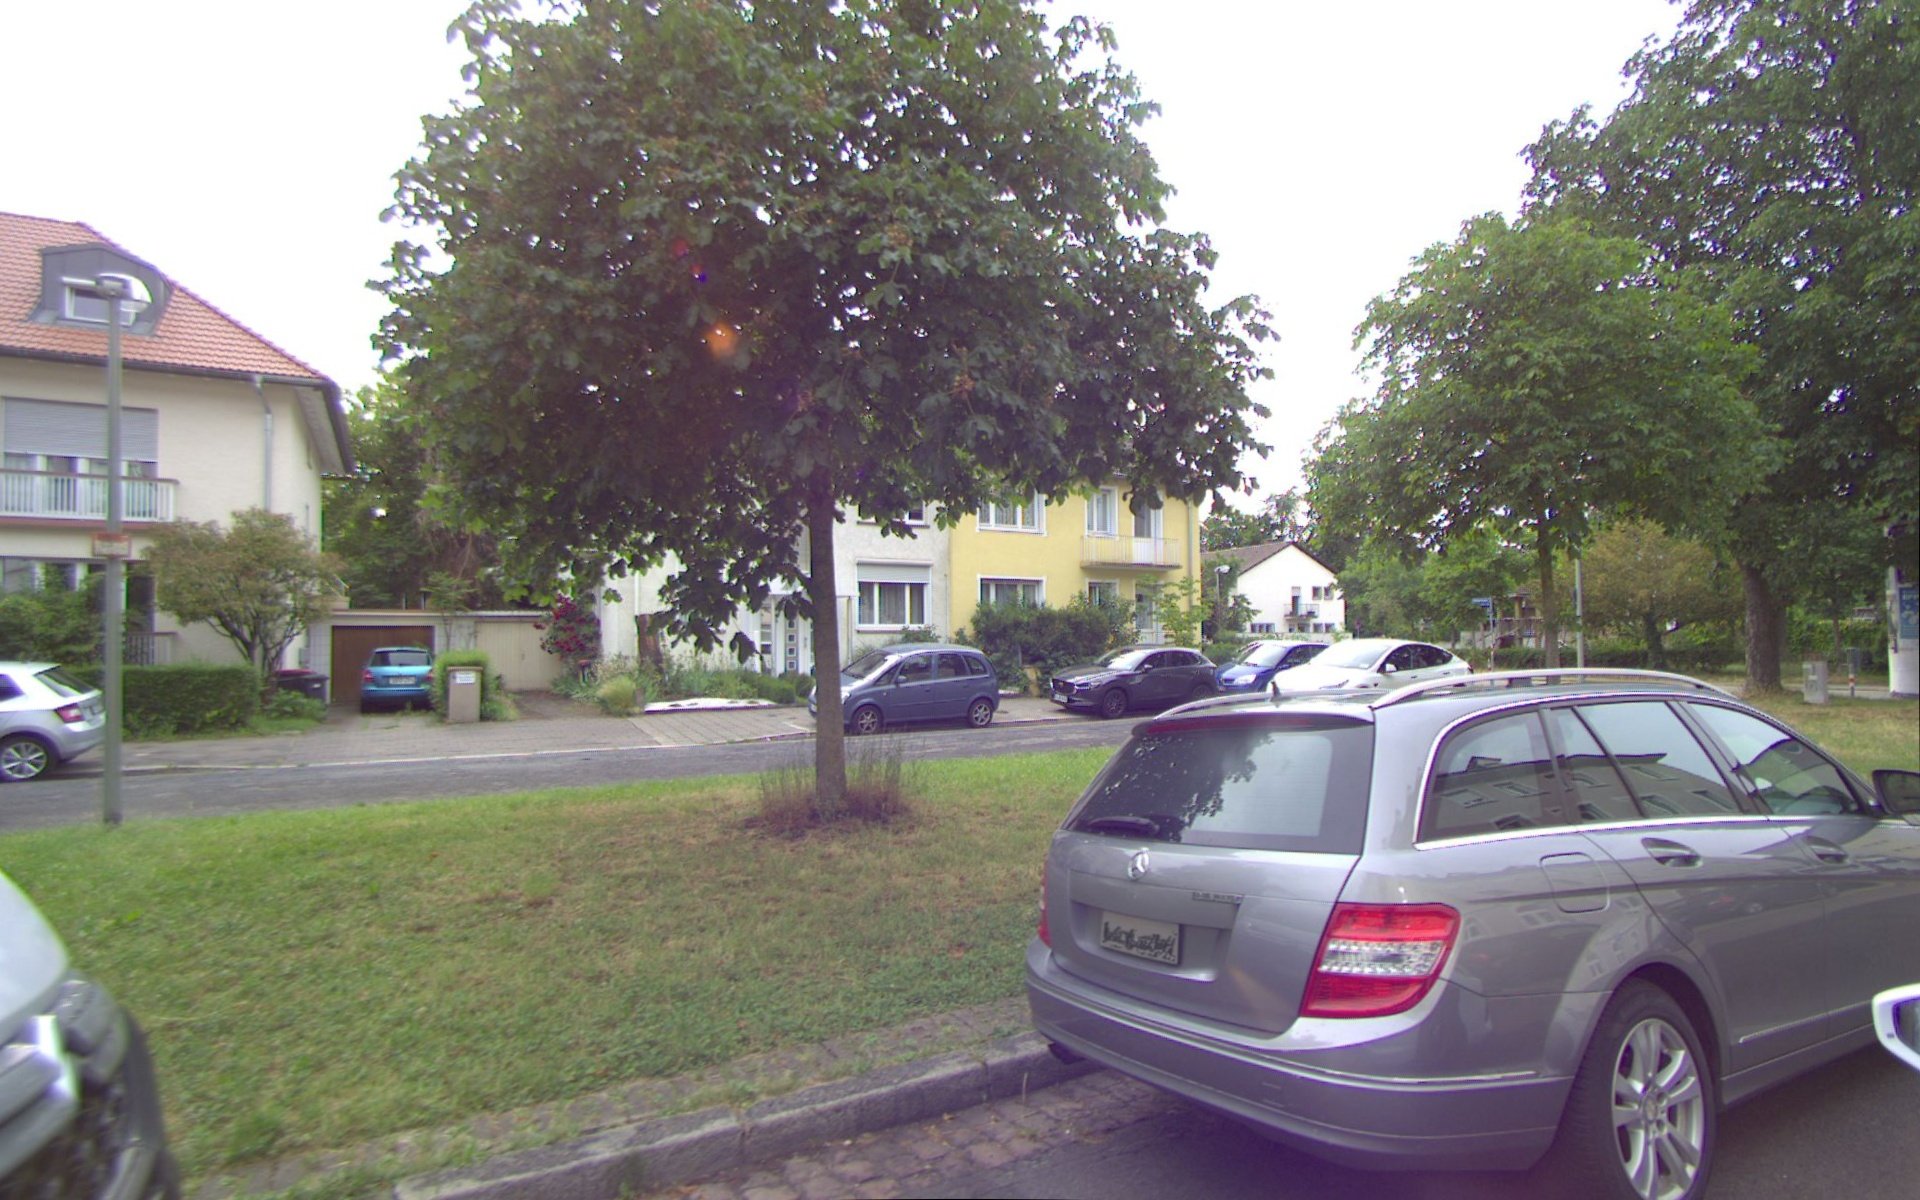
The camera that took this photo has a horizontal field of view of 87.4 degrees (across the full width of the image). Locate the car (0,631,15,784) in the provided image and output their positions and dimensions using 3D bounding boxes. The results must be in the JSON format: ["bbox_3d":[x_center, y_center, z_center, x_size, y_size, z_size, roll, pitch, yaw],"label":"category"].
[{"bbox_3d":[-10.931,1.025,8.471,3.959,1.508,1.791,1,-1,-30],"label":"car"}]

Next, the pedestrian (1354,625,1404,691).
[{"bbox_3d":[12.017,1.667,28.858,1.195,1.860,0.879,-1,-2,14],"label":"pedestrian"}]

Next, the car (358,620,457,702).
[{"bbox_3d":[-13.638,1.426,24.867,1.976,1.751,3.969,1,0,-29],"label":"car"}]

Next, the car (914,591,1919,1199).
[{"bbox_3d":[2.186,0.841,3.637,4.395,1.476,1.704,1,-7,-30],"label":"car"}]

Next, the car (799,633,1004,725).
[{"bbox_3d":[-1.162,1.527,20.442,3.841,1.623,1.705,1,0,-32],"label":"car"}]

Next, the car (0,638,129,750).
[{"bbox_3d":[-13.433,1.203,12.956,3.895,1.373,1.791,1,-1,-30],"label":"car"}]
